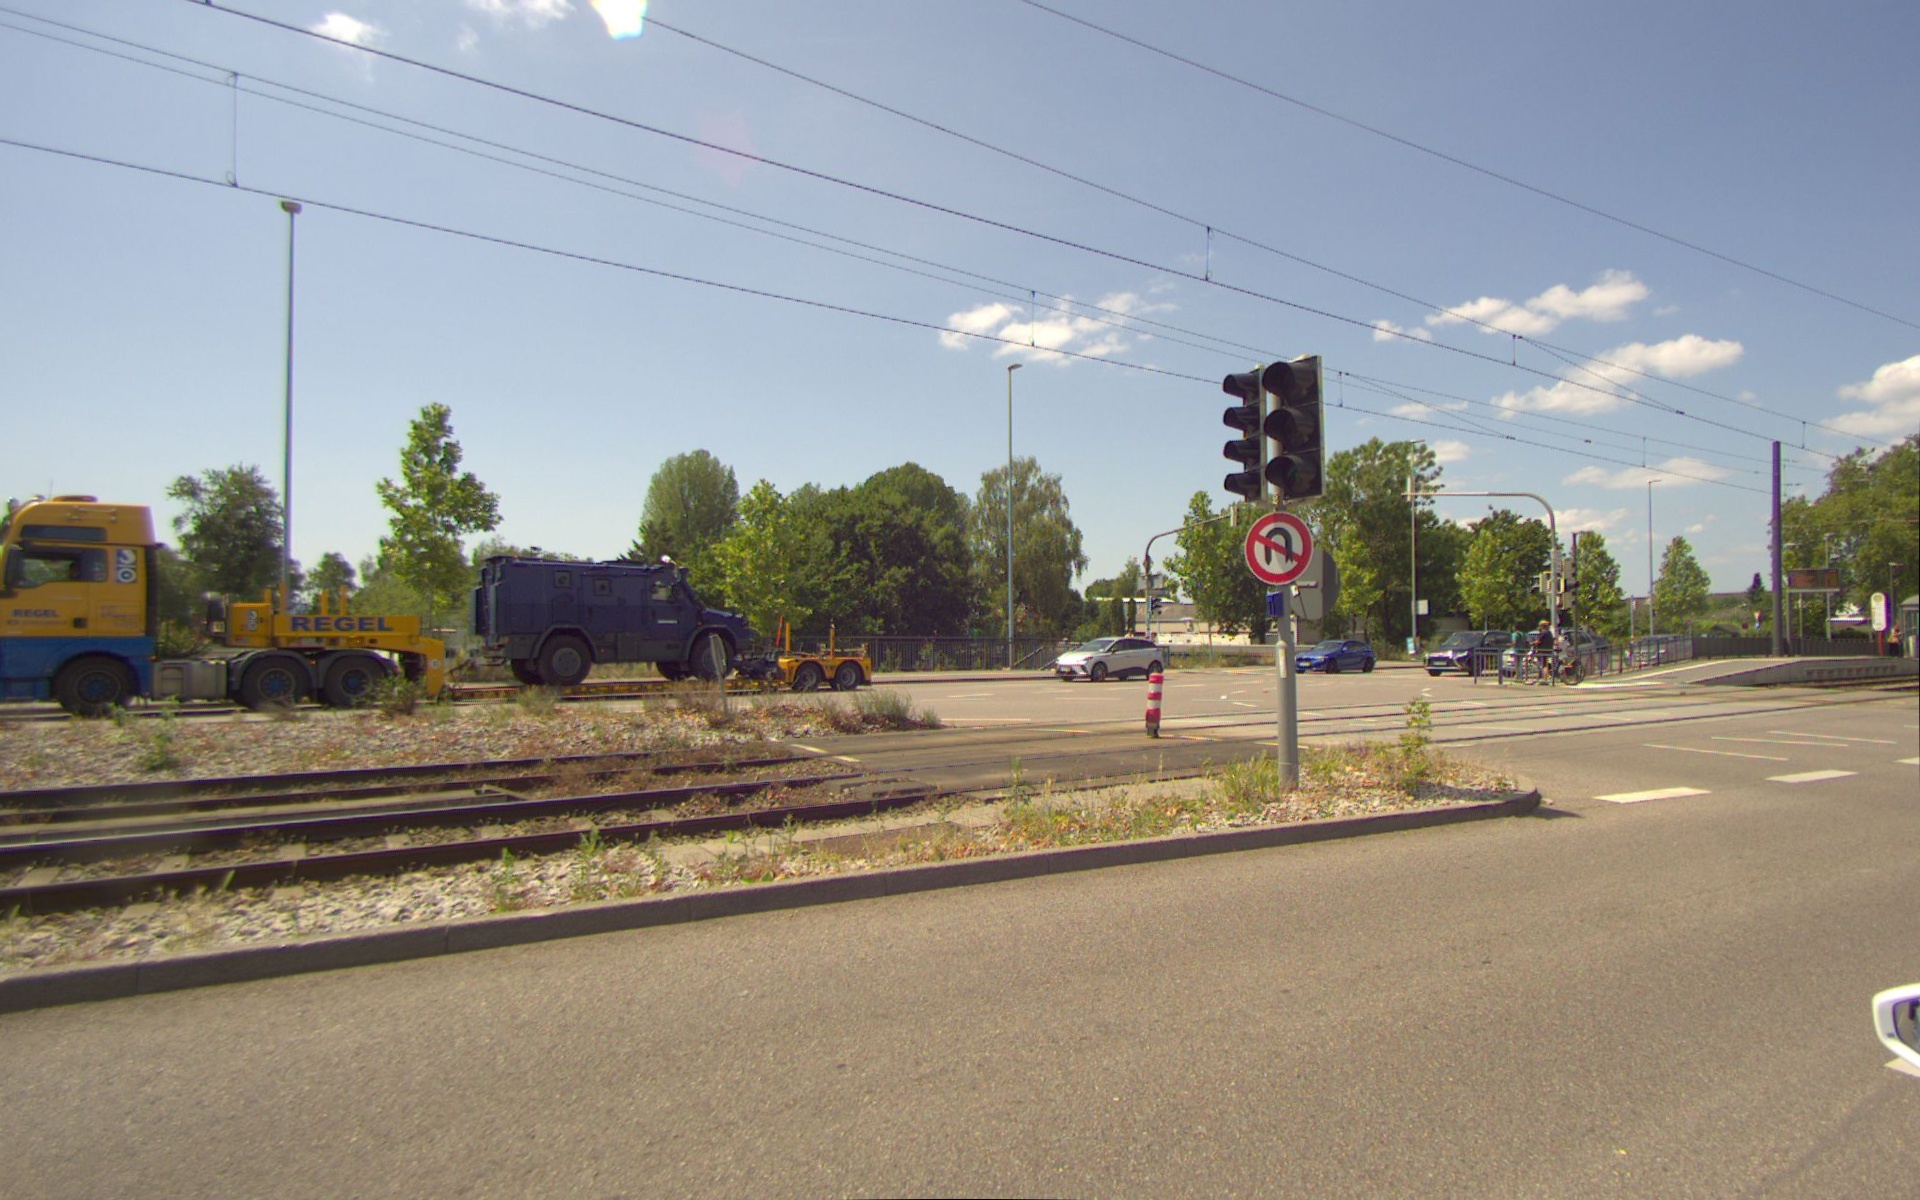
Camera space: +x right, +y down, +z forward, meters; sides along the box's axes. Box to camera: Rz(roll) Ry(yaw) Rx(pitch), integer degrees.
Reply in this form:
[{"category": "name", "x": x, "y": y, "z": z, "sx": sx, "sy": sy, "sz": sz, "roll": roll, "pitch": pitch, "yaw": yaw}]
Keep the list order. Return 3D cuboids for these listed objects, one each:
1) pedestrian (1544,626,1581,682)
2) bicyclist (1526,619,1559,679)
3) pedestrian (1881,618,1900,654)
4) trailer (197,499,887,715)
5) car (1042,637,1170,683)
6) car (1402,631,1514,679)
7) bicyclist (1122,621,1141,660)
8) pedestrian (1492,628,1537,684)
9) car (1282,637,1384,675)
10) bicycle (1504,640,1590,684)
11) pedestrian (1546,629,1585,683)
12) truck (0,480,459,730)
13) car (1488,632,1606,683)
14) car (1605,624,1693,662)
[{"category": "pedestrian", "x": 18.637, "y": 1.651, "z": 31.065, "sx": 0.756, "sy": 1.694, "sz": 0.756, "roll": 1, "pitch": -1, "yaw": -35}, {"category": "bicyclist", "x": 16.202, "y": 1.358, "z": 27.952, "sx": 0.656, "sy": 1.636, "sz": 0.730, "roll": 1, "pitch": 0, "yaw": 41}, {"category": "pedestrian", "x": 43.953, "y": 1.694, "z": 47.450, "sx": 0.800, "sy": 1.660, "sz": 0.552, "roll": 1, "pitch": -1, "yaw": -40}, {"category": "trailer", "x": -8.861, "y": 0.280, "z": 24.505, "sx": 15.360, "sy": 3.922, "sz": 3.088, "roll": 2, "pitch": -1, "yaw": -41}, {"category": "car", "x": 5.167, "y": 2.058, "z": 35.289, "sx": 4.234, "sy": 1.483, "sz": 1.981, "roll": 1, "pitch": -1, "yaw": -34}, {"category": "car", "x": 18.413, "y": 1.999, "z": 37.118, "sx": 3.956, "sy": 1.650, "sz": 1.983, "roll": 1, "pitch": -1, "yaw": -32}, {"category": "bicyclist", "x": 7.306, "y": 1.732, "z": 42.816, "sx": 0.537, "sy": 1.631, "sz": 0.583, "roll": 1, "pitch": -1, "yaw": -27}, {"category": "pedestrian", "x": 16.525, "y": 1.645, "z": 29.963, "sx": 0.756, "sy": 1.631, "sz": 0.950, "roll": 1, "pitch": -1, "yaw": -35}, {"category": "car", "x": 16.062, "y": 2.367, "z": 43.211, "sx": 4.305, "sy": 1.464, "sz": 1.981, "roll": 1, "pitch": -1, "yaw": -34}, {"category": "bicycle", "x": 16.467, "y": 1.720, "z": 28.203, "sx": 1.949, "sy": 1.115, "sz": 0.760, "roll": 1, "pitch": -1, "yaw": 42}, {"category": "pedestrian", "x": 17.994, "y": 1.650, "z": 29.836, "sx": 0.756, "sy": 1.569, "sz": 0.756, "roll": 1, "pitch": -1, "yaw": -35}, {"category": "truck", "x": -14.282, "y": 0.141, "z": 19.708, "sx": 7.418, "sy": 4.092, "sz": 3.098, "roll": 1, "pitch": -1, "yaw": -42}, {"category": "car", "x": 20.613, "y": 1.974, "z": 35.227, "sx": 3.956, "sy": 1.650, "sz": 1.983, "roll": 1, "pitch": -1, "yaw": -32}, {"category": "car", "x": 31.937, "y": 1.981, "z": 46.542, "sx": 3.956, "sy": 1.650, "sz": 1.983, "roll": 1, "pitch": -1, "yaw": -32}]
